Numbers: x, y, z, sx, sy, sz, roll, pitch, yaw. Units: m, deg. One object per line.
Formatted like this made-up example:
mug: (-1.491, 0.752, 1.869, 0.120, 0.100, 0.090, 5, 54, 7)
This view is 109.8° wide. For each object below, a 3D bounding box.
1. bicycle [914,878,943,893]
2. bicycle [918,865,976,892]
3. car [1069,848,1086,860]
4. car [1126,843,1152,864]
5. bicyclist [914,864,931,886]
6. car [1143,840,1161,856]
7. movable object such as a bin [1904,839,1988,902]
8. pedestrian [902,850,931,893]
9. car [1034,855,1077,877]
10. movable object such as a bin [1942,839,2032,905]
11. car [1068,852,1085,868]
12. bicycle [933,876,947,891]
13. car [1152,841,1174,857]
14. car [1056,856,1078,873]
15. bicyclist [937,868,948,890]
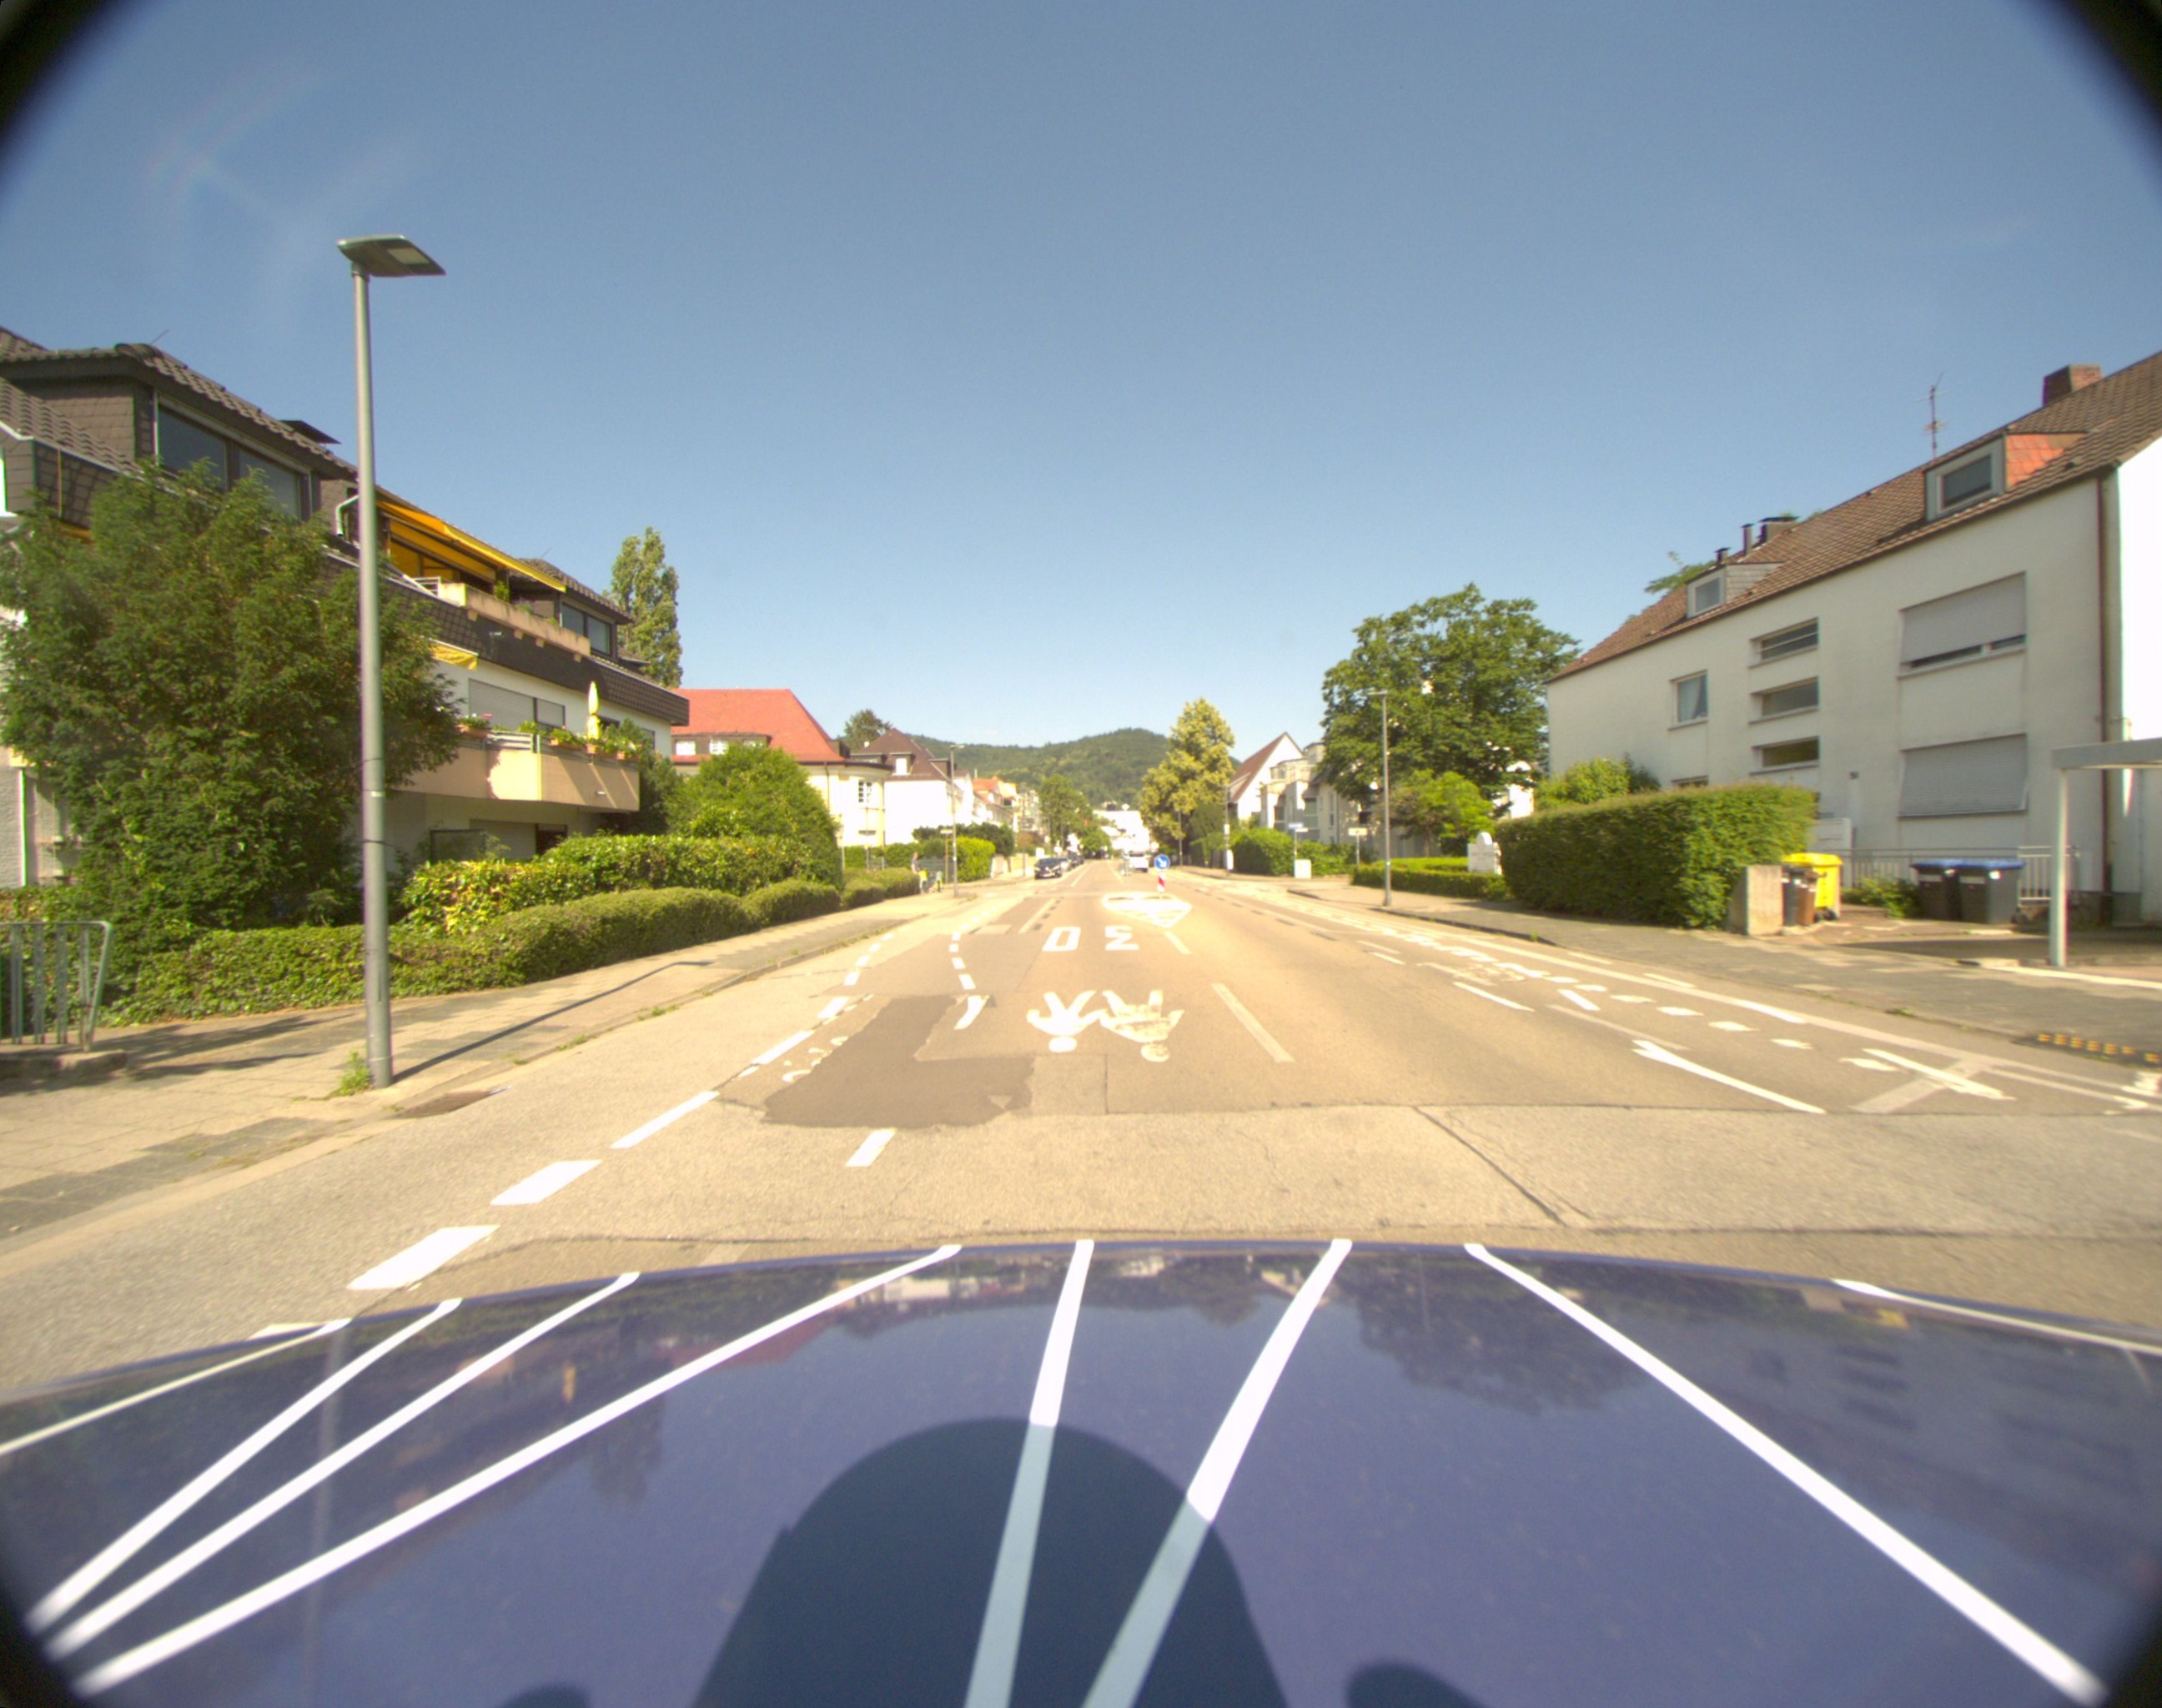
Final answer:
bicycle: (-6.459, 1.337, 32.184, 1.149, 0.596, 0.402, -1, 1, 8)
bicycle: (-6.079, 1.108, 34.462, 2.704, 1.152, 0.865, -1, 1, 34)
car: (-0.429, -0.006, 99.602, 1.622, 1.441, 4.002, -1, 0, 8)
car: (4.733, -0.095, 62.465, 1.919, 1.657, 4.505, 0, 1, 1)
bicyclist: (-6.732, 0.893, 32.286, 0.608, 0.928, 0.400, -1, 1, 8)
car: (8.871, -0.787, 95.029, 1.889, 1.909, 4.867, -1, 1, 0)
movable object such as a bin: (15.516, 0.281, 13.641, 0.702, 1.085, 0.707, -1, 1, -2)
pedestrian: (-7.467, 0.769, 34.408, 0.903, 1.862, 1.186, -2, 2, -31)
car: (-1.696, 0.788, 52.123, 1.739, 1.460, 4.350, 0, 0, 16)
movable object such as a bin: (15.533, 0.290, 13.045, 0.702, 1.085, 0.707, -1, 1, -2)
car: (-0.475, 0.634, 81.470, 1.726, 1.441, 4.168, -4, 1, 0)
bicycle: (-6.207, 1.291, 33.383, 0.403, 0.596, 1.171, -1, 1, -21)
car: (8.716, -0.563, 81.477, 1.855, 1.601, 4.447, -1, 1, 0)
car: (-1.266, 0.921, 69.304, 1.741, 1.321, 4.075, -4, 2, 2)
bicyclist: (-6.022, 1.074, 33.079, 0.403, 0.924, 0.657, -2, 1, -16)
